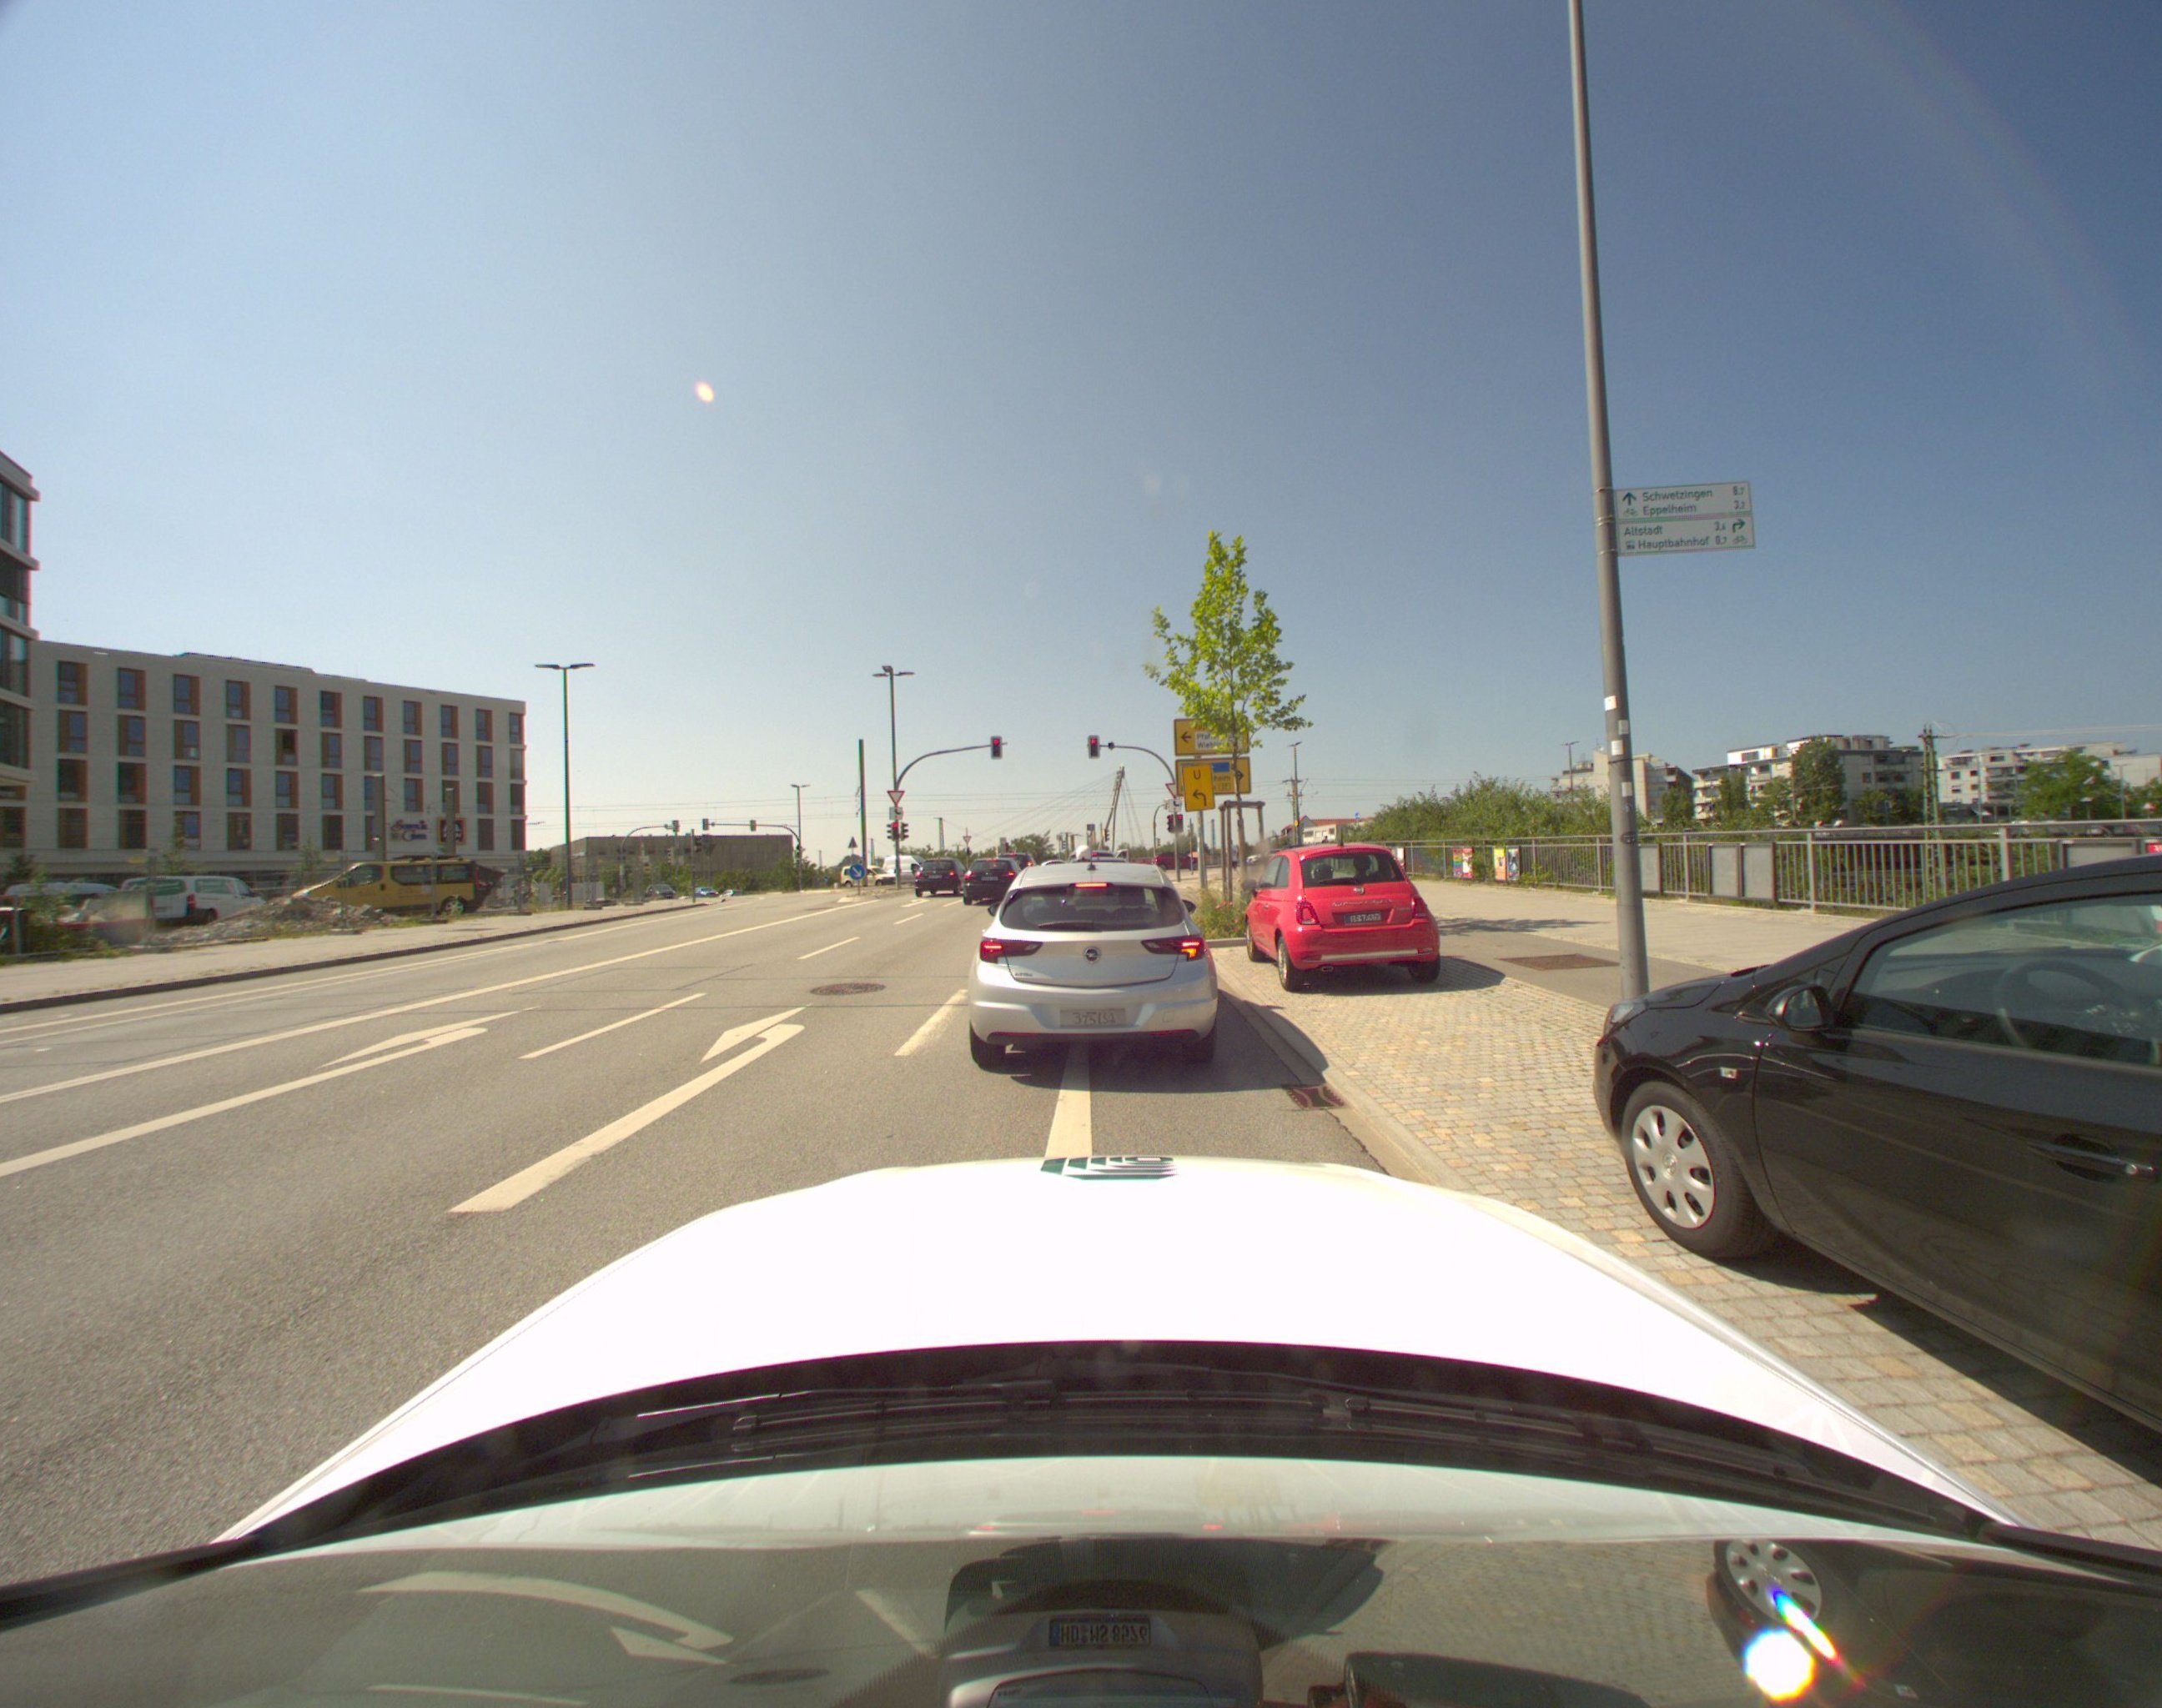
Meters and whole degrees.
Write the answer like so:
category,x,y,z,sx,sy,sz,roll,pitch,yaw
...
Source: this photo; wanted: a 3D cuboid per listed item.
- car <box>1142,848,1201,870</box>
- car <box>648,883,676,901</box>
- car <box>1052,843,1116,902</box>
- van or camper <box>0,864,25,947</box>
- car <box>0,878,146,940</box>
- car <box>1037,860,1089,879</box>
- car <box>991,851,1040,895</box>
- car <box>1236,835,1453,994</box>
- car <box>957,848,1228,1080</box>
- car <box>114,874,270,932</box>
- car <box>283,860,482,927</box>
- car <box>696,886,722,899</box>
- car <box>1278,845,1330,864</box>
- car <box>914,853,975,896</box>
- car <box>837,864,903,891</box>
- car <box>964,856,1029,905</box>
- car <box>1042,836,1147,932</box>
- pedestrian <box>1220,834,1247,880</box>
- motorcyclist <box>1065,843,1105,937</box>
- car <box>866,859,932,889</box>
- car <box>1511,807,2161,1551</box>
category,x,y,z,sx,sy,sz,roll,pitch,yaw
car,6.985,0.400,62.958,4.264,1.631,1.754,-1,-1,-3
car,-38.538,3.468,74.834,1.686,1.476,3.368,-2,0,-37
car,0.152,0.480,23.889,1.717,1.563,4.002,0,1,2
van or camper,-36.351,1.705,25.324,2.318,2.735,4.944,0,-1,-26
car,-33.670,1.761,27.199,1.794,1.857,3.818,0,-1,-26
car,-1.367,1.191,63.502,3.972,1.483,2.001,0,-1,1
car,-2.495,0.702,31.816,1.644,1.615,3.819,0,-1,0
car,2.946,0.601,9.809,1.603,1.496,3.355,-4,0,3
car,0.056,0.720,7.259,1.738,1.478,3.998,0,-1,-1
car,-31.043,1.635,28.660,1.873,1.774,4.619,0,-1,-22
car,-22.580,1.183,26.493,1.964,1.962,4.655,-1,-1,40
car,-41.639,4.322,91.132,1.831,1.331,3.954,0,-2,-38
car,17.913,0.044,65.360,3.711,1.384,1.582,-1,-1,-6
car,-5.180,0.762,31.353,1.591,1.547,3.764,0,-1,2
car,-16.465,1.846,63.625,4.661,2.014,2.011,-1,-1,22
car,-2.612,0.784,25.867,1.569,1.434,3.786,0,-1,1
car,0.334,0.559,17.741,1.986,1.820,4.404,0,0,2
pedestrian,6.211,0.116,33.167,0.801,1.836,0.642,-1,-1,-36
motorcyclist,0.069,0.539,12.441,0.579,1.389,0.707,0,-1,1
car,-14.713,1.619,65.793,4.958,2.376,1.793,-1,-1,20
car,2.879,0.589,1.927,1.654,1.426,4.001,-3,-1,2
